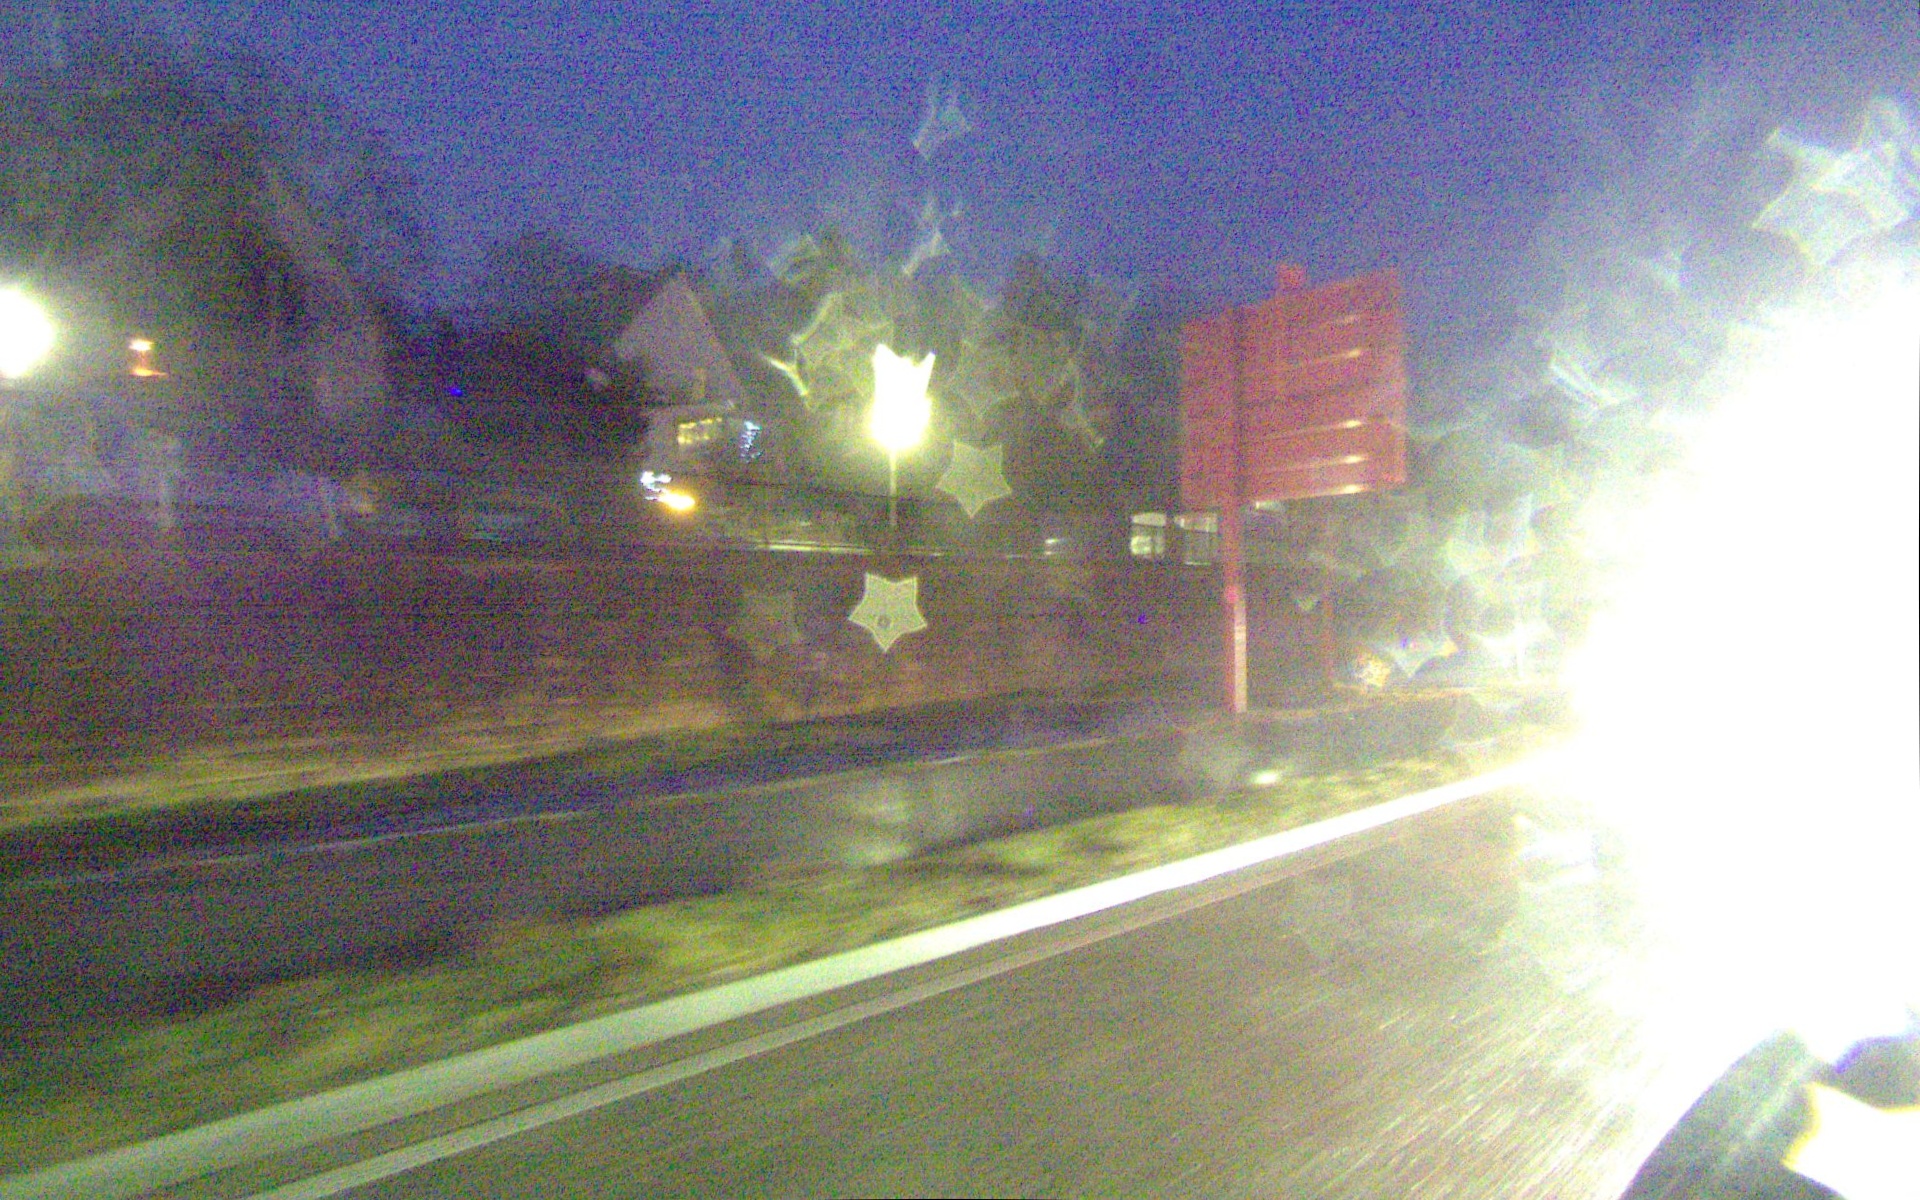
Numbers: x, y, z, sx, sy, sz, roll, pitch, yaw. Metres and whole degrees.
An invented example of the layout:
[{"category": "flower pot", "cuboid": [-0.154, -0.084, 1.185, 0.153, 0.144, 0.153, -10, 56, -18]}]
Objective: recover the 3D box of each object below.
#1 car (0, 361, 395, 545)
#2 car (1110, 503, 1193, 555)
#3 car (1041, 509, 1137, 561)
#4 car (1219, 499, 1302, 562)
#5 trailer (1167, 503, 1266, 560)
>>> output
[{"category": "car", "cuboid": [-9.443, -1.618, 12.447, 1.629, 1.638, 4.085, 0, 0, 33]}, {"category": "car", "cuboid": [7.110, -2.555, 37.270, 1.606, 1.660, 3.952, 0, 0, 34]}, {"category": "car", "cuboid": [4.333, -2.103, 33.540, 1.606, 1.491, 3.952, 0, 0, 34]}, {"category": "car", "cuboid": [14.291, -3.189, 47.919, 2.108, 2.668, 5.380, 1, 1, 36]}, {"category": "trailer", "cuboid": [11.091, -2.860, 43.446, 2.219, 2.098, 5.647, 1, 1, 36]}]
